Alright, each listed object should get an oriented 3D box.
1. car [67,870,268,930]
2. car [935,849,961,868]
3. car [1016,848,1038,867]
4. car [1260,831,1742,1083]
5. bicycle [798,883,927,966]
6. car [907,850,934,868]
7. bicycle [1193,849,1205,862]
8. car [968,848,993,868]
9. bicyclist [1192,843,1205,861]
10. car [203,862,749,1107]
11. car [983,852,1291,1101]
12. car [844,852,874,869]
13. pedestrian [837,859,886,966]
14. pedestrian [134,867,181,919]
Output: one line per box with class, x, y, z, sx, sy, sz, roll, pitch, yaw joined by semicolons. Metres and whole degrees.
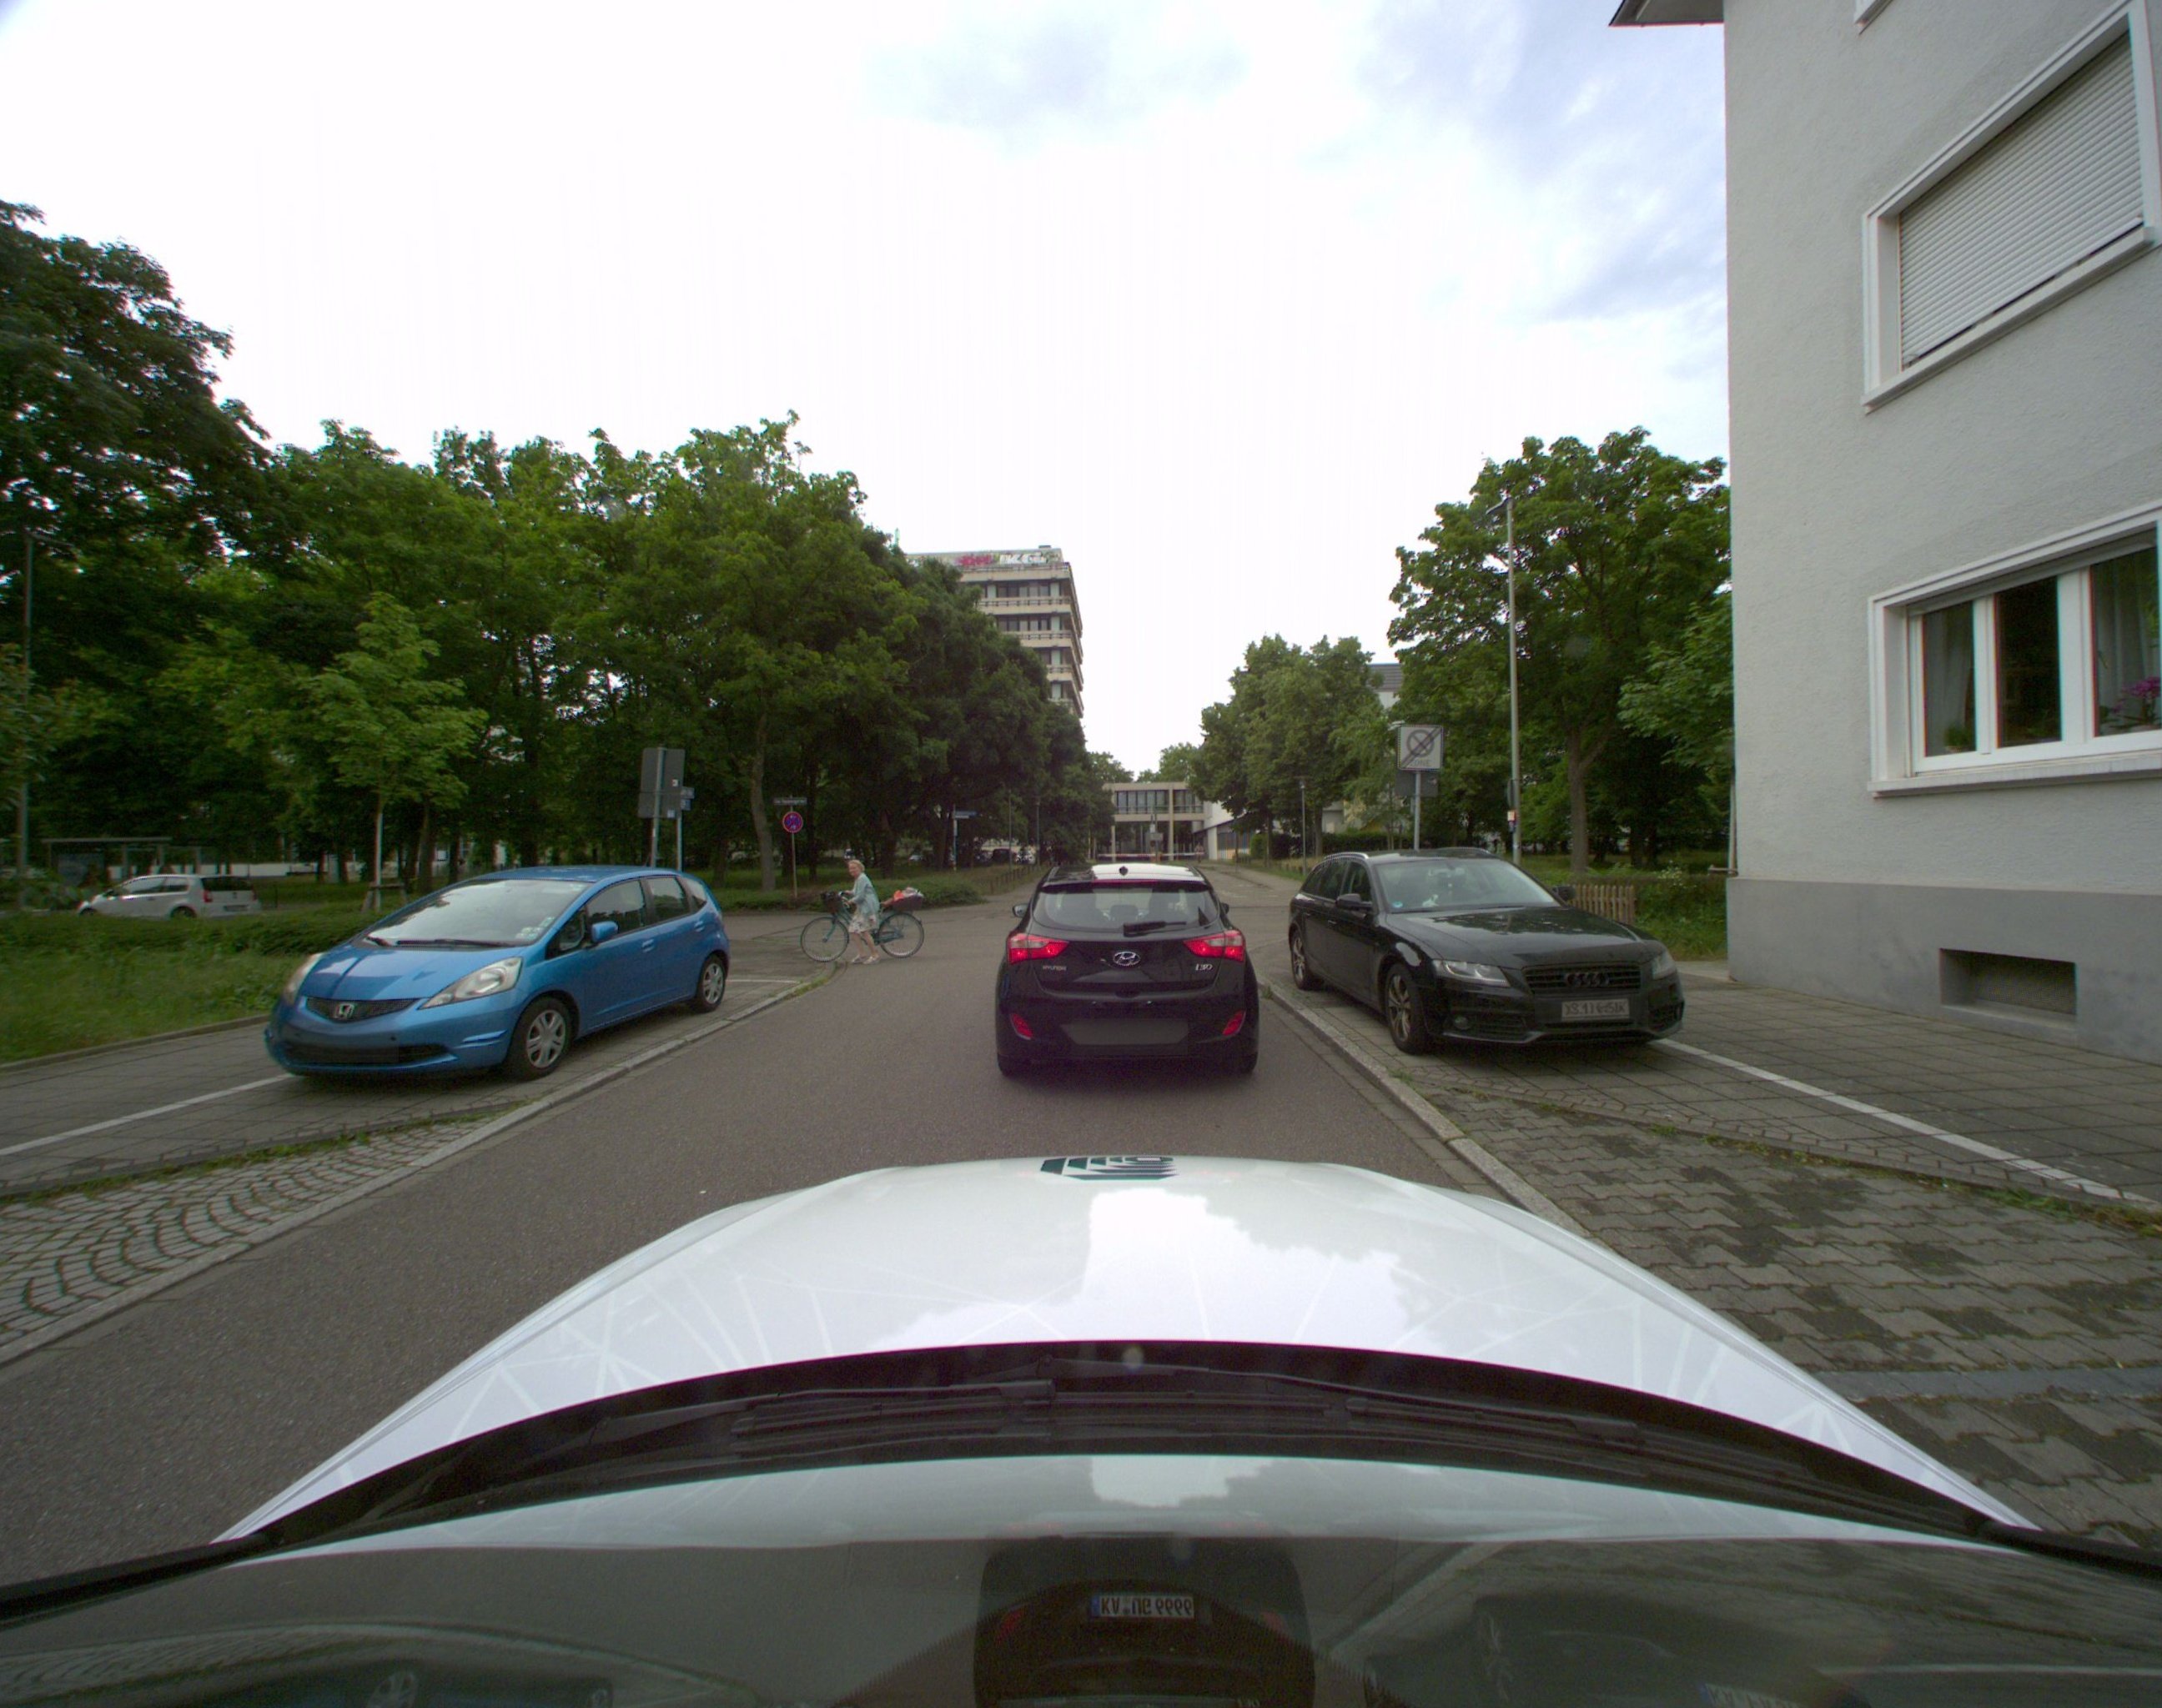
car;-24.227;1.202;21.689;3.521;1.437;1.567;-1;0;-1
car;-12.893;0.430;79.183;1.988;1.728;3.996;-1;-2;-2
car;-5.208;0.330;79.390;1.988;1.762;3.996;-1;-1;-2
car;3.082;0.619;7.317;1.854;1.462;4.725;-2;0;0
bicycle;-3.373;1.079;12.674;1.810;1.119;0.536;-3;0;-7
car;-15.601;0.469;79.316;1.988;1.618;3.997;-1;0;-2
bicycle;10.626;0.123;73.608;0.863;1.074;2.143;-1;1;3
car;-9.787;0.391;79.438;1.988;1.794;3.996;-1;-2;-2
bicyclist;10.623;-0.198;73.684;1.013;1.644;0.924;-1;0;2
car;-4.638;0.842;7.136;1.724;1.462;3.958;1;0;1
car;0.330;0.744;6.812;1.840;1.462;3.826;-1;0;0
car;-21.761;0.653;79.990;1.913;1.618;3.997;-1;0;-2
pedestrian;-3.307;0.863;12.299;0.565;1.549;0.447;-3;0;-5
pedestrian;-29.238;1.233;25.799;0.693;1.583;0.656;-1;1;3
